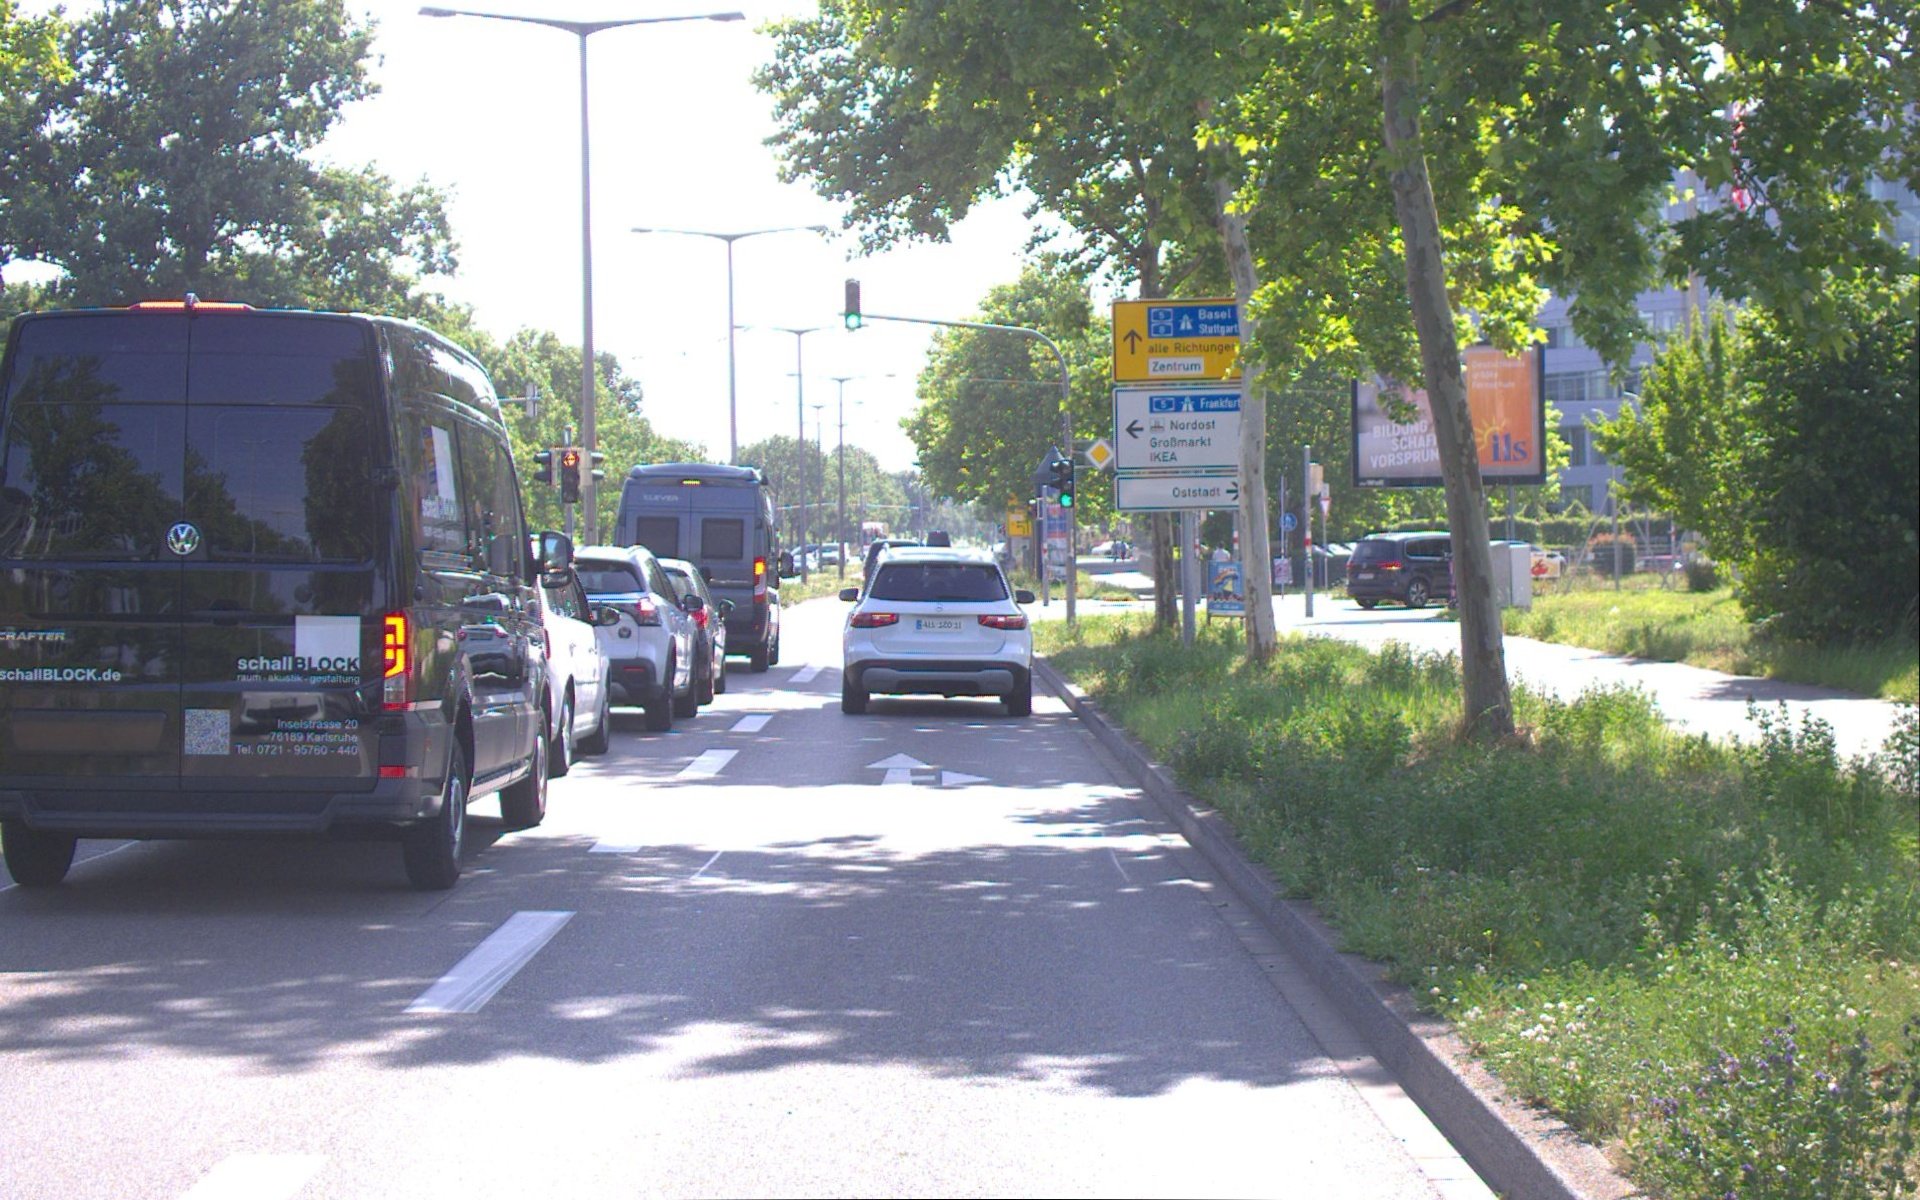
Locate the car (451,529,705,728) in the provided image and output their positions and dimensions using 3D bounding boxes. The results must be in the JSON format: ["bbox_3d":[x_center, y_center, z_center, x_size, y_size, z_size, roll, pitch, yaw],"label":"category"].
[{"bbox_3d":[-3.311,0.213,30.495,1.771,1.641,4.084,0,1,0],"label":"car"}]

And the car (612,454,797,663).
[{"bbox_3d":[-3.397,-0.552,46.528,2.081,2.647,4.874,1,1,0],"label":"car"}]

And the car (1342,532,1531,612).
[{"bbox_3d":[10.571,-0.624,76.294,3.783,1.678,1.693,1,0,-19],"label":"car"}]

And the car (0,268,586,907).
[{"bbox_3d":[-3.226,-0.081,17.137,2.016,2.598,6.168,0,1,0],"label":"car"}]

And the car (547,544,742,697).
[{"bbox_3d":[-3.280,0.173,36.365,1.691,1.499,3.886,1,1,0],"label":"car"}]

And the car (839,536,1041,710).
[{"bbox_3d":[-0.260,0.180,34.350,1.853,1.602,4.001,1,1,-2],"label":"car"}]

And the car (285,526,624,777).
[{"bbox_3d":[-3.529,0.316,24.743,1.771,1.641,4.352,0,1,0],"label":"car"}]

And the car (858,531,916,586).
[{"bbox_3d":[-1.897,-1.101,90.155,1.464,1.399,3.477,0,1,-1],"label":"car"}]
